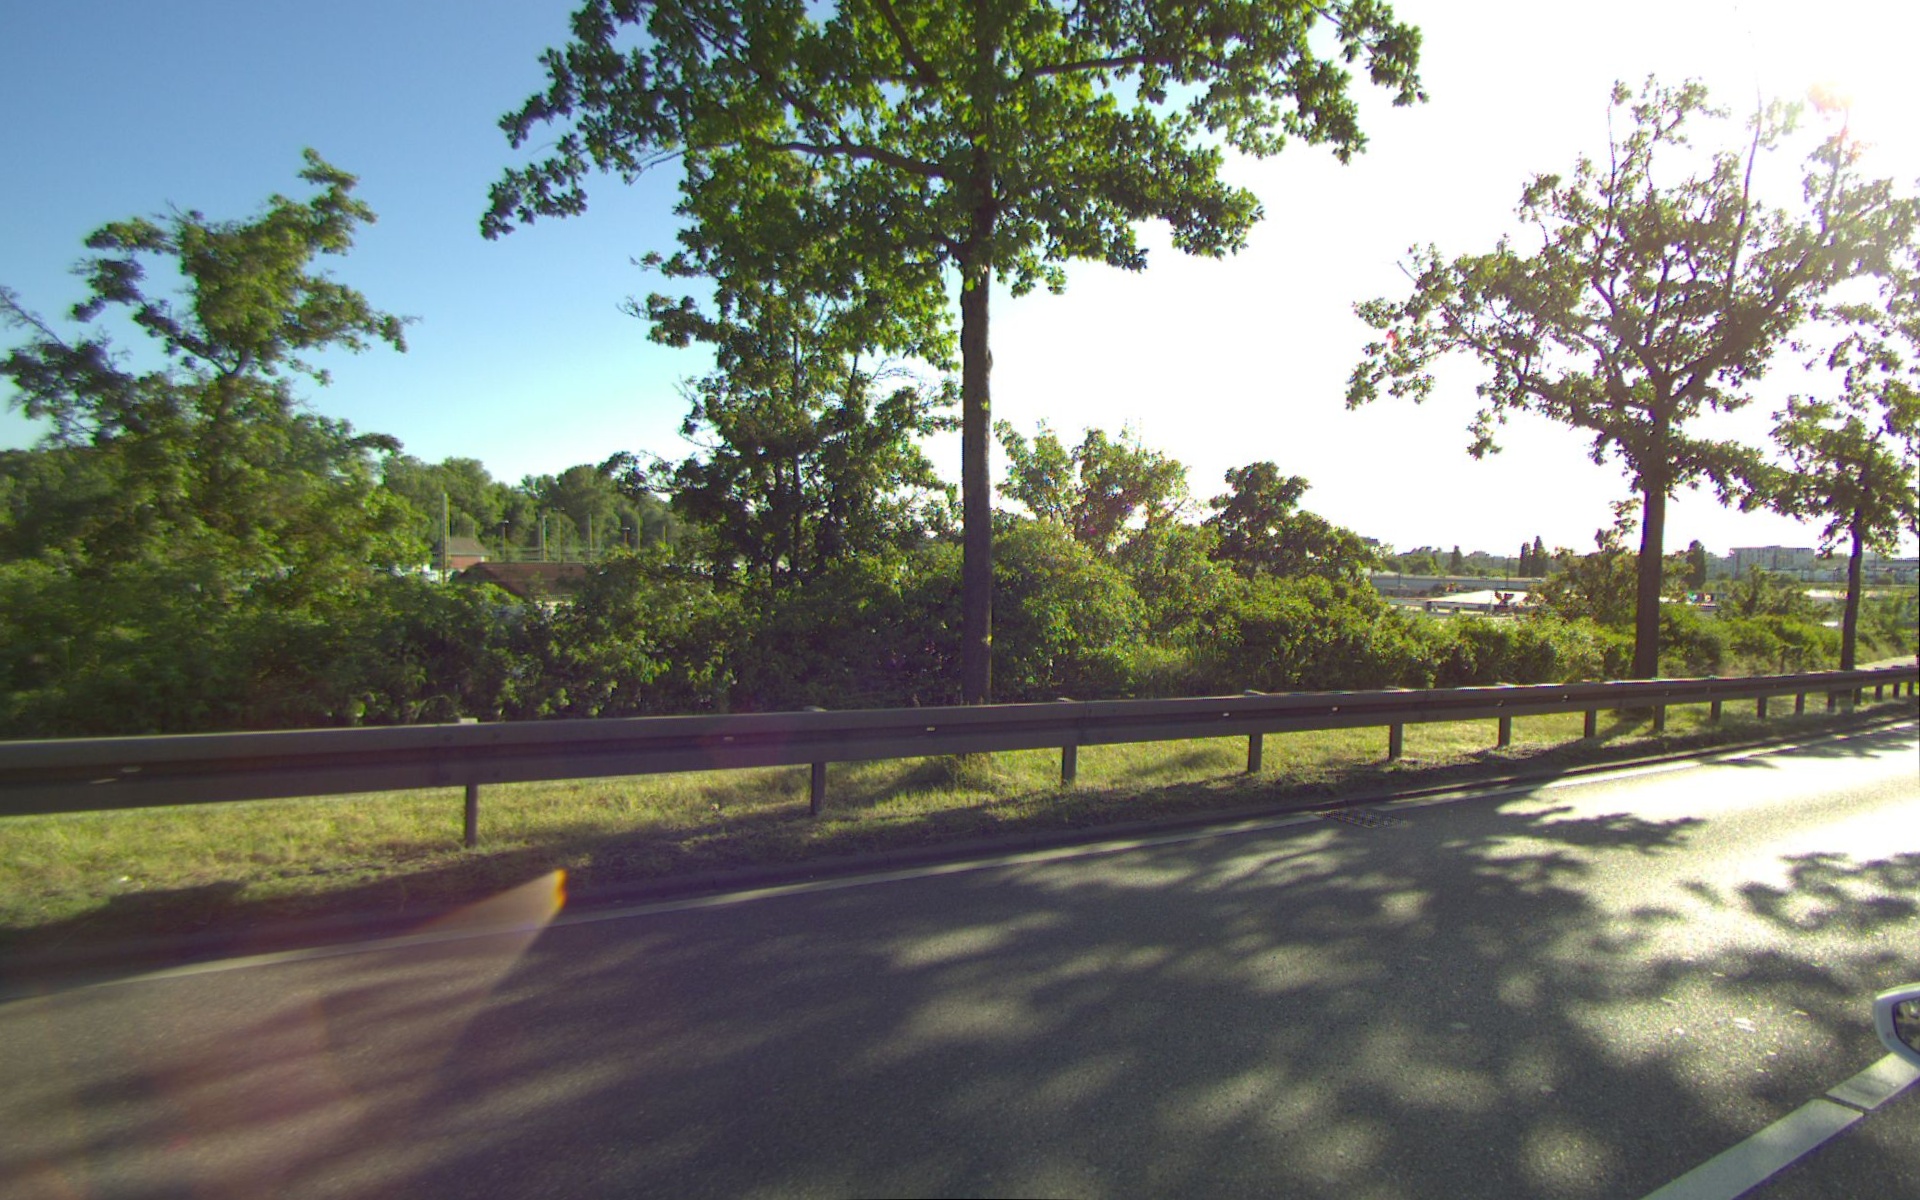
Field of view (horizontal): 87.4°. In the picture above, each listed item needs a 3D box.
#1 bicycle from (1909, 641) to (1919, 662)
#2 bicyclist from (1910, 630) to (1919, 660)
[{"bbox_3d":[52.028,2.800,54.477,2.093,1.110,0.654,2,1,-43],"label":"bicycle"},{"bbox_3d":[52.066,2.447,54.518,0.868,1.645,0.645,2,1,-43],"label":"bicyclist"}]
